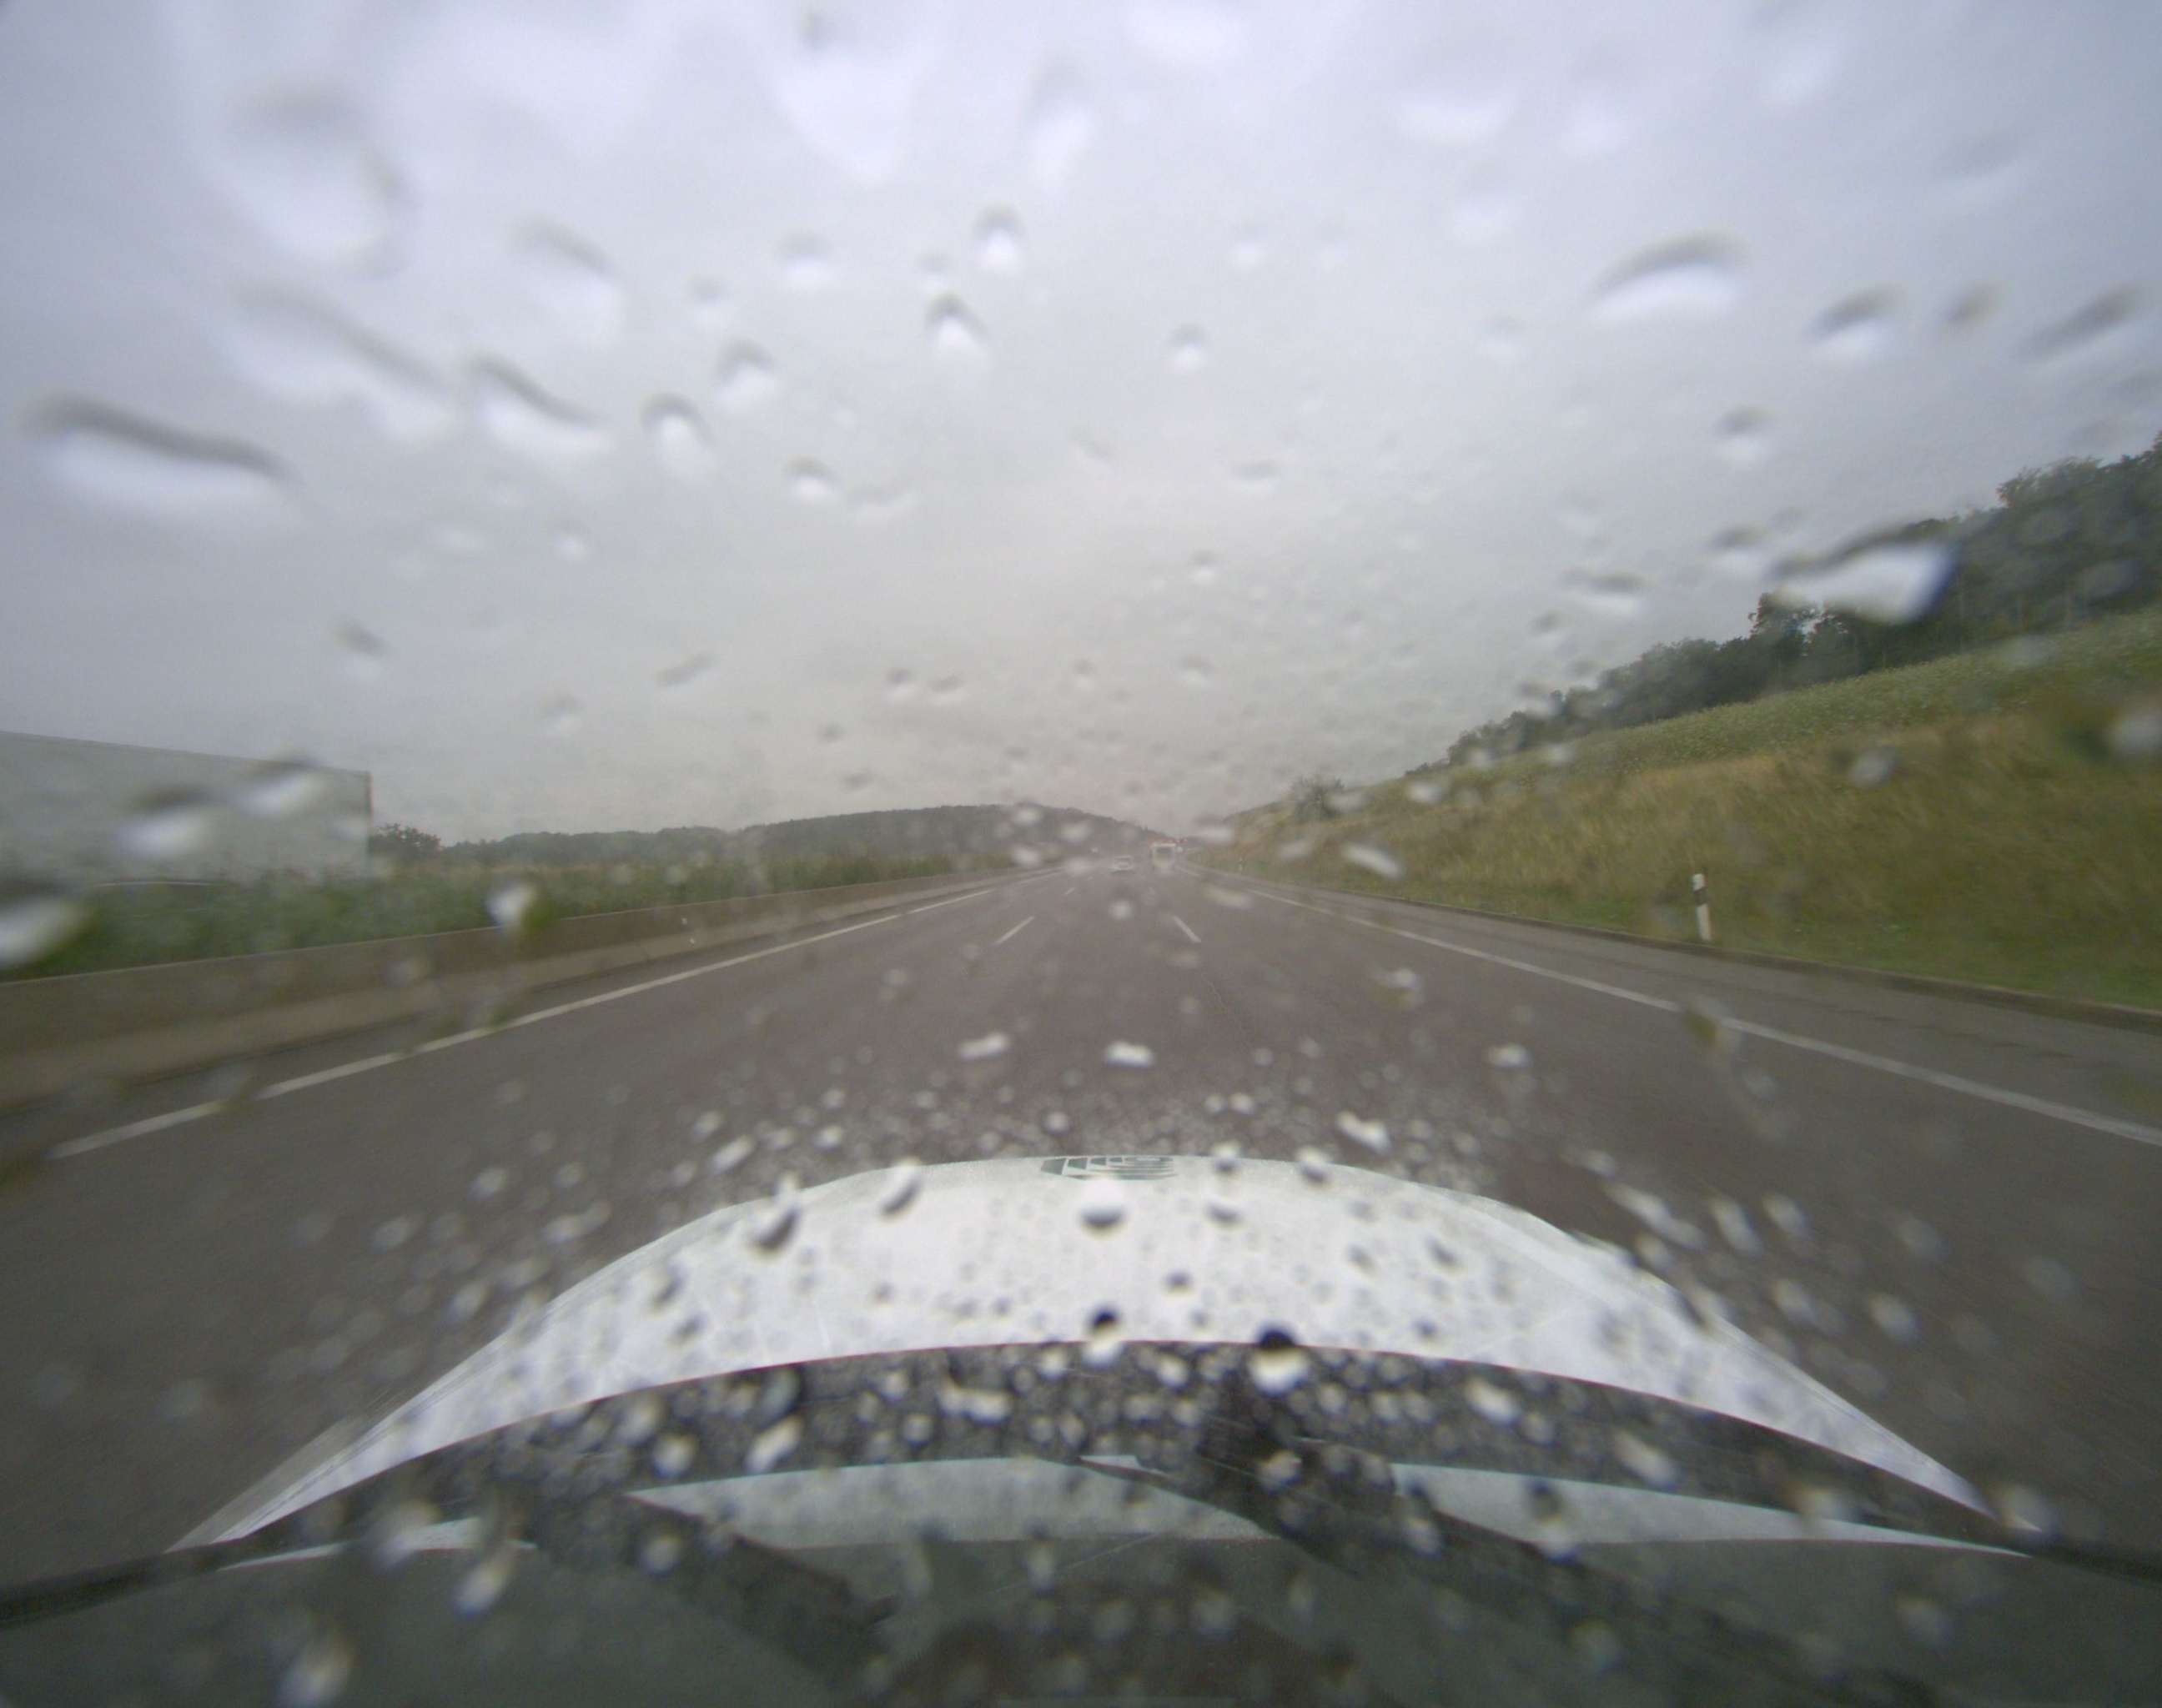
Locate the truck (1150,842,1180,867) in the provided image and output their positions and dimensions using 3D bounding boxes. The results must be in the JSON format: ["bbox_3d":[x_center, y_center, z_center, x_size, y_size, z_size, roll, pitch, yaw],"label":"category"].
[{"bbox_3d":[8.036,0.045,78.265,2.400,2.252,4.692,-1,0,0],"label":"truck"}]

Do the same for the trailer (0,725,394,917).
[{"bbox_3d":[-19.163,-0.536,12.779,2.976,3.144,15.724,-1,-1,2],"label":"trailer"}]

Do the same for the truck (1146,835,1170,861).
[{"bbox_3d":[11.992,-0.969,126.558,3.510,3.742,11.443,0,1,5],"label":"truck"}]

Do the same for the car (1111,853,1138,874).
[{"bbox_3d":[3.250,0.693,60.848,1.860,1.463,4.003,-1,-1,3],"label":"car"}]

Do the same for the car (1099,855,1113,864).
[{"bbox_3d":[3.562,0.759,115.669,1.818,1.156,4.211,-1,-1,-1],"label":"car"}]
